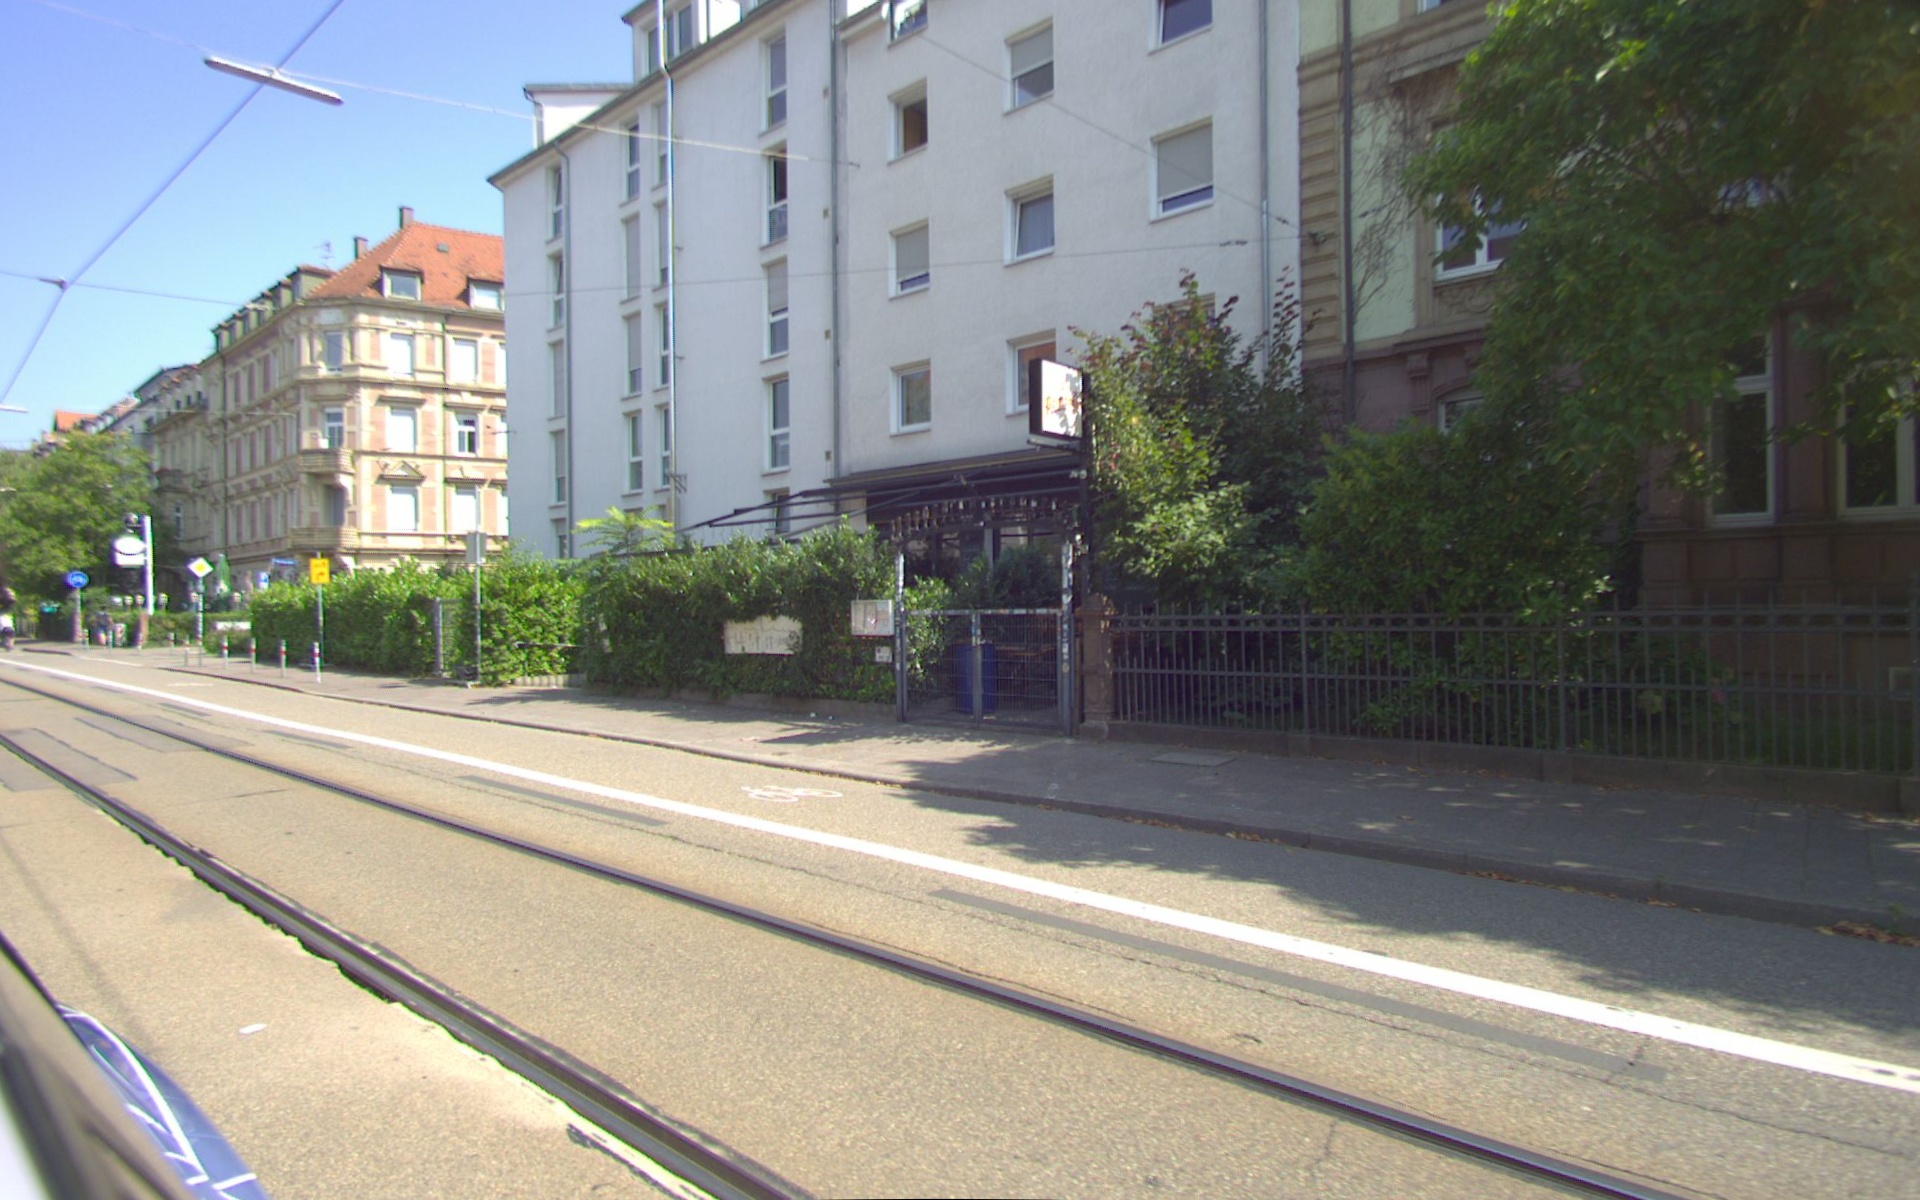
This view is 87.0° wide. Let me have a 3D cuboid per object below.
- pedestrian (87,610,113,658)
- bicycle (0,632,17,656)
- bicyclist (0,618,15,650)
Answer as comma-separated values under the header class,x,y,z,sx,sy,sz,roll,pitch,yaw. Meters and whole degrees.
class,x,y,z,sx,sy,sz,roll,pitch,yaw
pedestrian,-36.643,1.447,43.119,0.973,2.029,0.649,-2,-2,39
bicycle,-43.525,2.001,46.061,1.913,1.085,0.634,-1,-1,39
bicyclist,-43.573,1.533,46.086,0.973,1.439,0.649,-2,-2,39
